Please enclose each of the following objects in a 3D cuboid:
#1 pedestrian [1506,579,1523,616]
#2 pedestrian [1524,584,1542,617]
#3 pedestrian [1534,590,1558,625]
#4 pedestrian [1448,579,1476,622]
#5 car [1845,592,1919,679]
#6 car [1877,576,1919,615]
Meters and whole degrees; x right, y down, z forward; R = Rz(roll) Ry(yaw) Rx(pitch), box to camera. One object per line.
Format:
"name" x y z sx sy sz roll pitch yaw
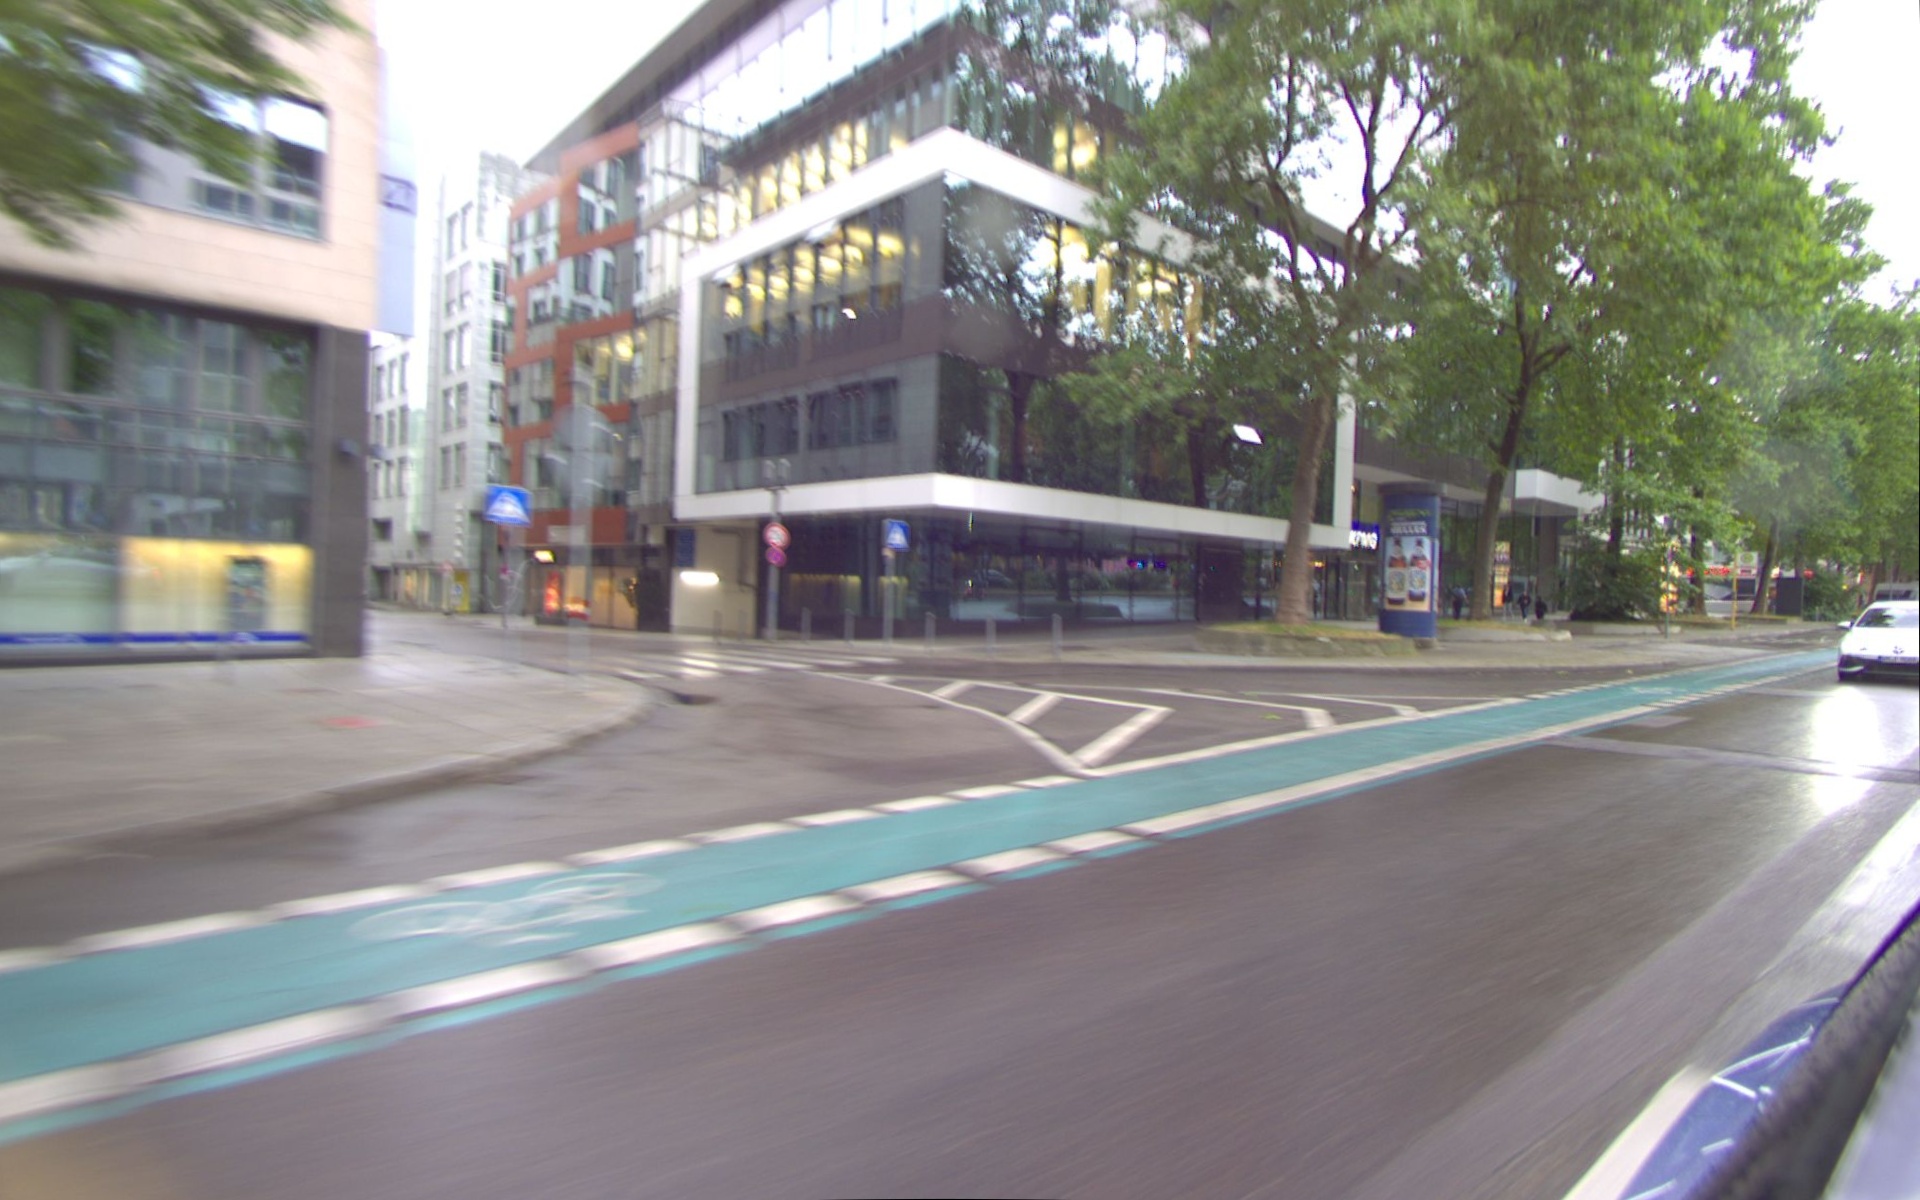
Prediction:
"pedestrian" 28.731 -0.138 52.440 0.692 1.881 0.523 -1 4 -41
"pedestrian" 29.343 0.026 51.836 0.707 1.645 0.527 -1 4 -41
"pedestrian" 25.798 0.336 44.576 0.987 1.524 0.588 1 1 -40
"pedestrian" 22.154 0.001 44.667 0.786 1.815 1.072 4 3 39
"car" 17.807 0.603 18.613 3.727 1.490 1.794 0 0 -40
"car" 68.210 -0.334 70.696 2.275 2.713 6.292 0 1 -5
